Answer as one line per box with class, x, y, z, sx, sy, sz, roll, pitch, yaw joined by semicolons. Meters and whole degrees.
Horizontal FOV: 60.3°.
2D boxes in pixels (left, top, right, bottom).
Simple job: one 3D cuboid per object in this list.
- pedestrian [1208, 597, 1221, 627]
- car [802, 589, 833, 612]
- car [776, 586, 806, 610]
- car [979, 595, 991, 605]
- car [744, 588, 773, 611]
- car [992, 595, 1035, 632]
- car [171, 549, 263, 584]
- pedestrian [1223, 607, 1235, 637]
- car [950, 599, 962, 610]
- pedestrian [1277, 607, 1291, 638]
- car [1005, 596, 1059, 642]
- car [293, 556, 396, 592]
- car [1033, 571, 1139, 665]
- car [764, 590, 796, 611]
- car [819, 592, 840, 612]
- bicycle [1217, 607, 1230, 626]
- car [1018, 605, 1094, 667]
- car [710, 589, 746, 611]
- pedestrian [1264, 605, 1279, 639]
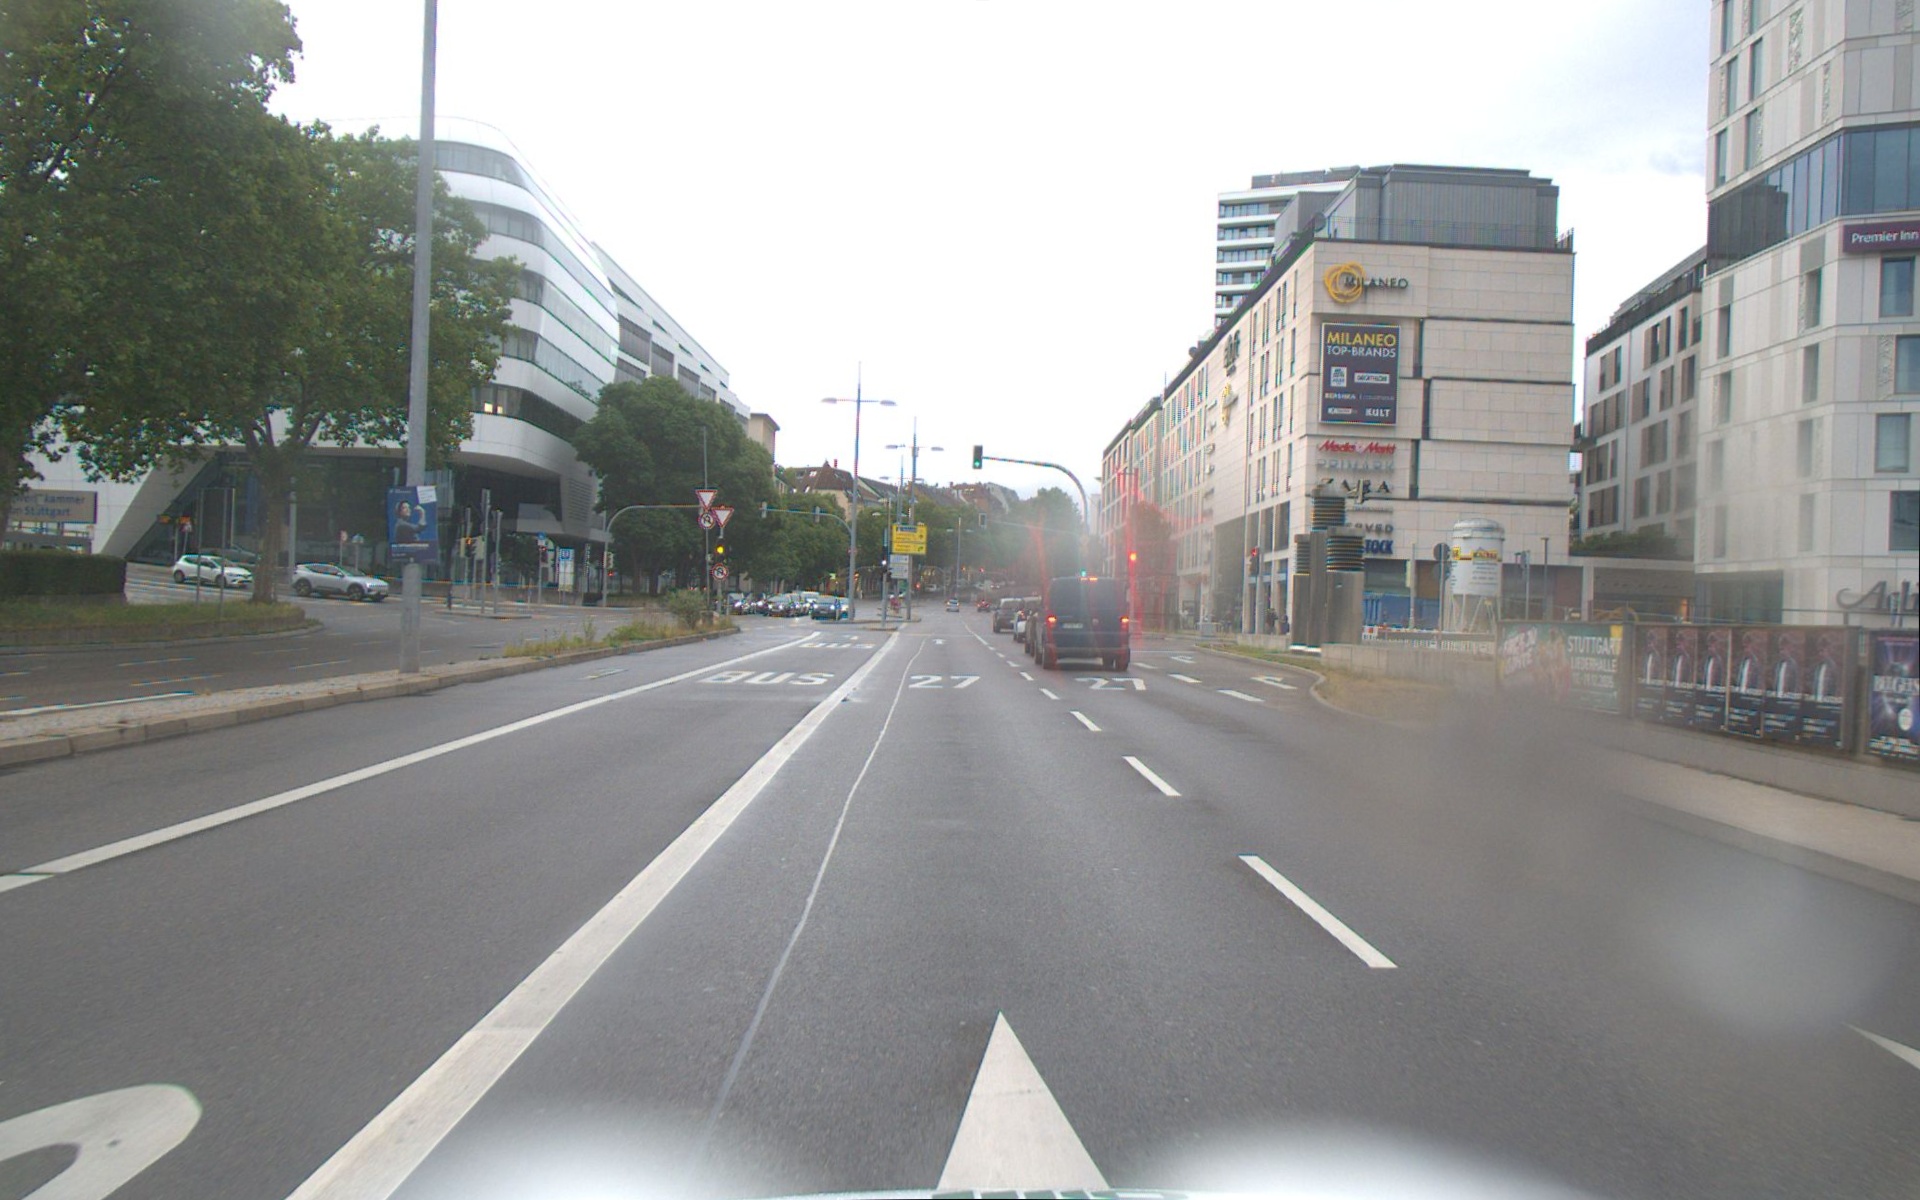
pedestrian;13.945;0.670;90.607;0.600;1.639;0.818;1;-1;0
car;-9.239;0.039;107.459;1.707;1.470;3.394;1;-1;0
car;-11.852;-0.146;116.051;1.707;1.586;3.539;1;-1;0
car;3.666;0.011;246.832;1.704;1.558;3.813;1;-1;0
car;-14.799;-0.015;121.431;1.707;1.586;3.539;1;-1;0
car;2.286;0.589;71.867;1.704;1.558;3.813;1;-1;0
car;-37.434;-1.704;83.317;3.902;1.660;1.896;1;-1;16
pedestrian;14.730;1.187;90.595;0.539;1.639;0.698;1;-1;0
car;-0.594;0.624;234.096;1.704;1.558;3.813;1;0;-1
pedestrian;17.468;1.231;89.146;0.582;1.671;0.587;1;-1;24
car;2.506;0.662;57.925;1.689;1.558;3.813;1;-1;0
car;-30.077;-1.267;80.811;4.406;1.660;1.896;1;-1;16
car;2.758;0.339;37.350;1.991;1.915;5.042;-1;1;0
car;-11.808;0.046;108.721;1.707;1.279;3.539;2;1;0
car;-12.315;0.204;156.451;1.707;1.779;3.539;1;-1;0
bicycle;14.432;0.916;90.674;0.440;1.033;1.742;1;-1;0
car;2.593;0.957;45.513;1.754;1.533;4.338;1;1;-1
car;-15.092;0.007;107.704;1.707;1.352;4.225;1;-1;0
pedestrian;15.903;1.128;84.392;0.608;1.701;0.824;1;-1;0
